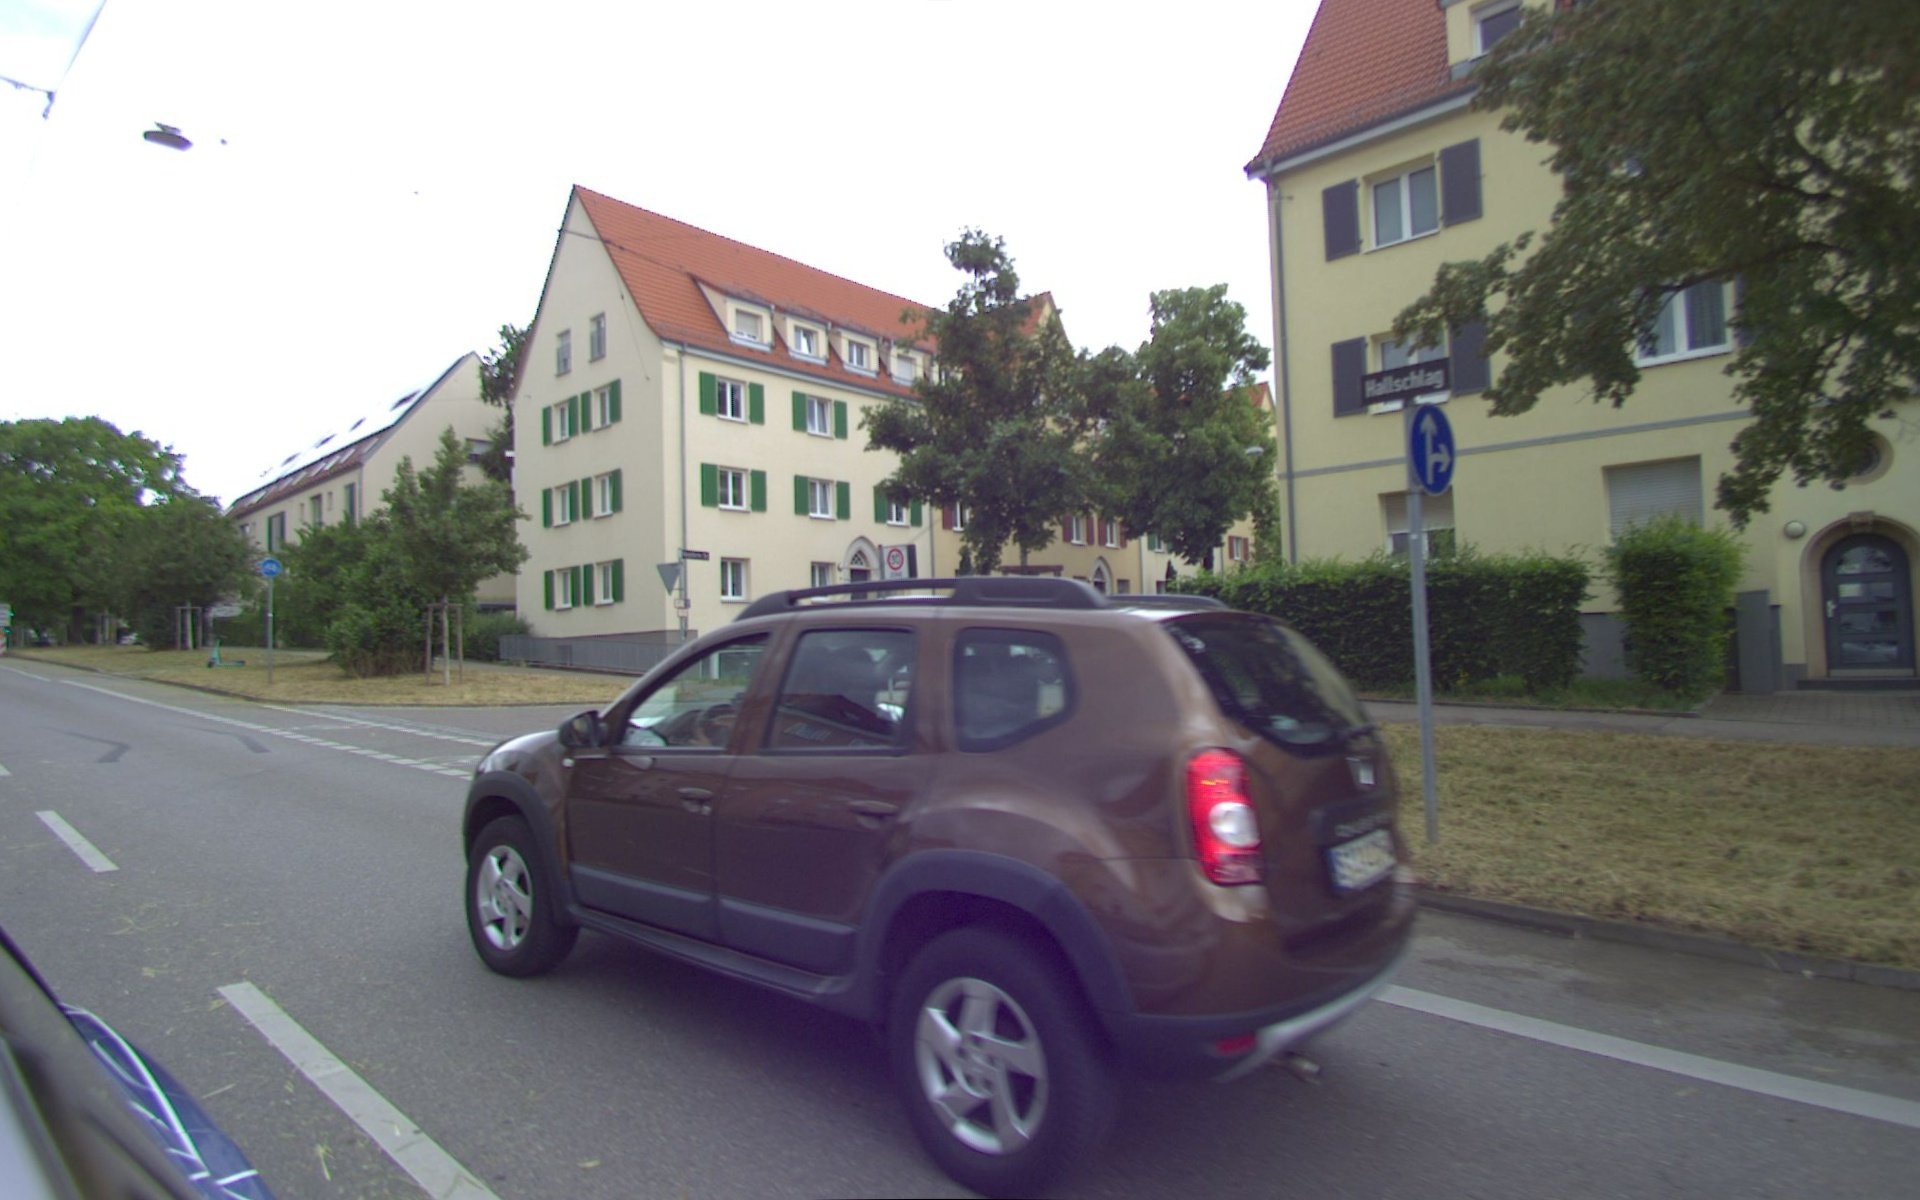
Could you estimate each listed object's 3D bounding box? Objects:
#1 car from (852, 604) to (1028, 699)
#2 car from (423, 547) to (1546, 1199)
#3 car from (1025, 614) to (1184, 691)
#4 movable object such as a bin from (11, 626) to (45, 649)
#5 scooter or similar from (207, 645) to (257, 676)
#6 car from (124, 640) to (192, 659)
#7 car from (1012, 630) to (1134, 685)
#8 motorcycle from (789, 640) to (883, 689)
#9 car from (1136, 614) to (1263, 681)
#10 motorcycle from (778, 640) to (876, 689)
[{"bbox_3d":[-0.442,1.294,26.730,1.994,2.270,4.667,-2,-2,42],"label":"car"},{"bbox_3d":[-0.344,0.782,4.072,4.361,1.632,1.879,-2,-2,43],"label":"car"},{"bbox_3d":[3.378,1.157,23.129,1.690,1.542,3.864,-7,-5,41],"label":"car"},{"bbox_3d":[-80.245,3.234,87.121,3.234,1.918,1.088,-2,-2,27],"label":"movable object such as a bin"},{"bbox_3d":[-25.893,2.139,35.998,0.466,1.094,1.357,-2,-3,37],"label":"scooter or similar"},{"bbox_3d":[-63.478,3.929,80.158,1.808,1.475,3.971,-3,-4,44],"label":"car"},{"bbox_3d":[3.482,1.709,30.858,1.745,1.478,3.774,-2,-2,44],"label":"car"},{"bbox_3d":[-3.595,1.844,29.307,2.562,1.288,1.020,-1,-2,-15],"label":"motorcycle"},{"bbox_3d":[6.247,1.198,26.178,1.620,1.542,3.612,-7,-5,41],"label":"car"},{"bbox_3d":[-3.690,1.765,28.015,2.562,1.288,1.020,0,-2,-15],"label":"motorcycle"}]
